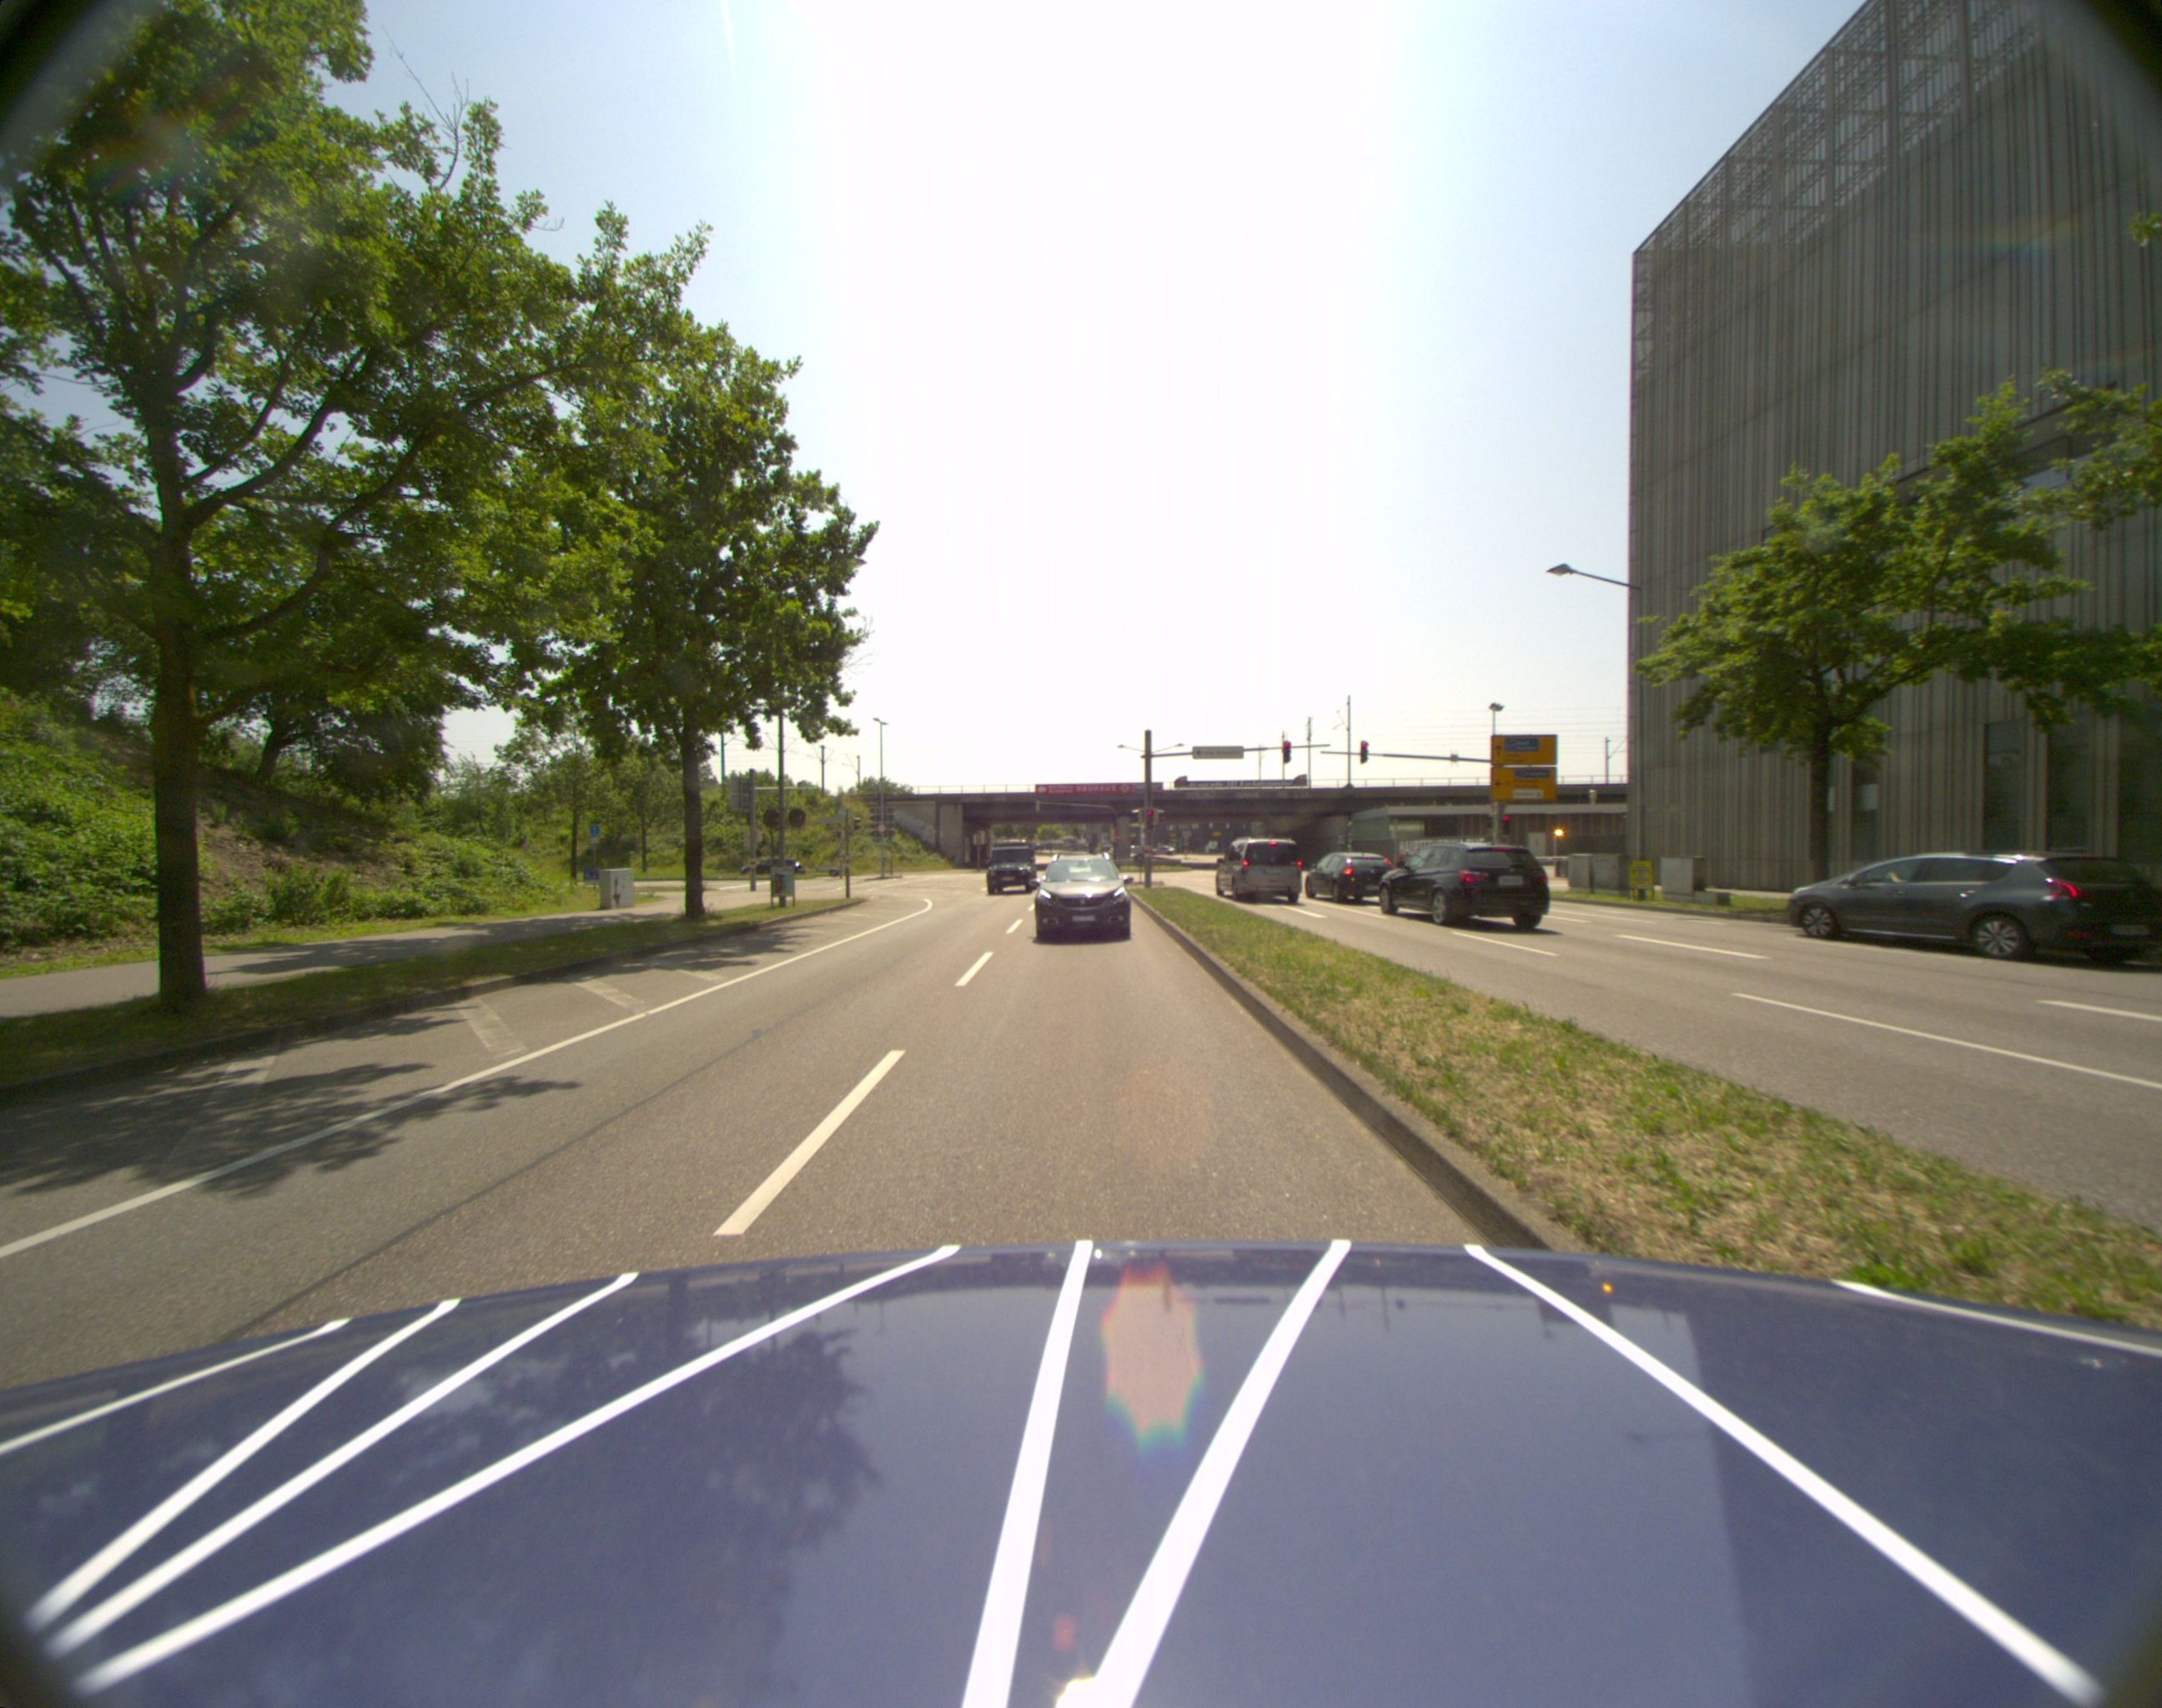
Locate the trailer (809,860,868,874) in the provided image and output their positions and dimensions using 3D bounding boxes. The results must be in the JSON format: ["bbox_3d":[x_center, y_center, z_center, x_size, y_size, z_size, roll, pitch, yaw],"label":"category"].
[{"bbox_3d":[-17.324,0.927,54.341,3.834,0.936,1.680,-1,1,-12],"label":"trailer"}]

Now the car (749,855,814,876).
[{"bbox_3d":[-21.155,0.792,53.769,3.901,1.382,1.809,-1,1,-4],"label":"car"}]

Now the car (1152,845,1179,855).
[{"bbox_3d":[14.068,-0.714,126.413,3.991,1.674,2.002,0,1,17],"label":"car"}]

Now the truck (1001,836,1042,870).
[{"bbox_3d":[-5.451,-0.141,70.862,2.885,2.899,8.516,-2,1,1],"label":"truck"}]

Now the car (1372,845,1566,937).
[{"bbox_3d":[7.898,0.649,16.051,1.807,1.653,4.572,0,1,1],"label":"car"}]

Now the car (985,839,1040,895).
[{"bbox_3d":[-2.789,0.489,31.737,1.841,2.141,4.557,-1,1,0],"label":"car"}]

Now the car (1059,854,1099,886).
[{"bbox_3d":[-0.144,0.732,37.098,1.817,1.456,3.999,-1,1,-2],"label":"car"}]

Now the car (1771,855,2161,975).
[{"bbox_3d":[13.975,0.809,12.162,1.815,1.534,4.369,0,0,-1],"label":"car"}]

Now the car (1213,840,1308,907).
[{"bbox_3d":[5.294,0.528,23.027,1.815,1.790,4.713,1,0,1],"label":"car"}]

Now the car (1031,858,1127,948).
[{"bbox_3d":[0.073,0.844,15.166,1.619,1.503,4.459,-1,0,3],"label":"car"}]

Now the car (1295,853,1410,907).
[{"bbox_3d":[7.989,0.710,22.792,1.815,1.437,4.249,0,1,-1],"label":"car"}]
